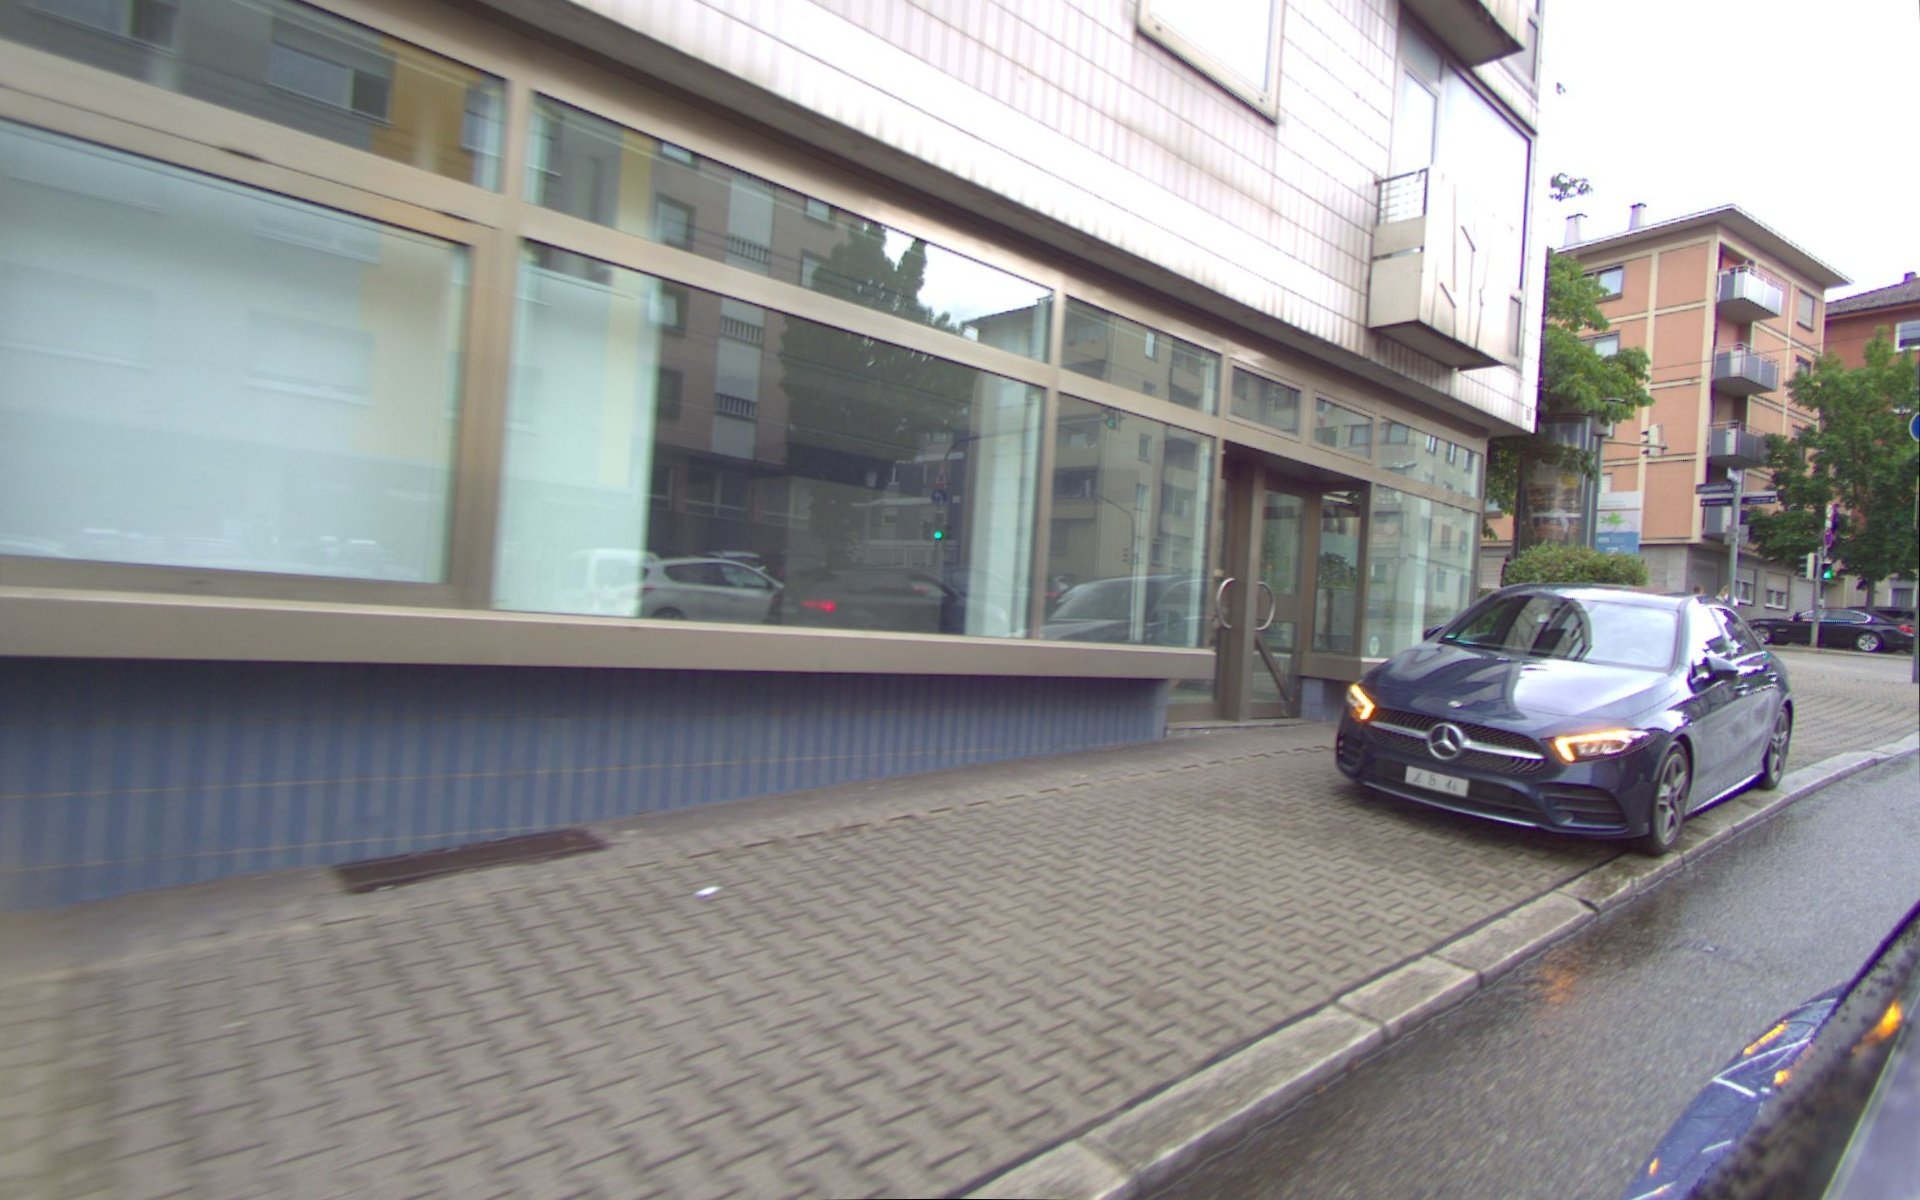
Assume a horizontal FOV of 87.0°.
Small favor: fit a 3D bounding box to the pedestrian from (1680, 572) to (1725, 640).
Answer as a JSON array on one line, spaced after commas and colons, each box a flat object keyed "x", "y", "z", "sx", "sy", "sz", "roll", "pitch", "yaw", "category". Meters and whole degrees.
[{"x": 19.459, "y": 0.154, "z": 26.521, "sx": 0.756, "sy": 1.667, "sz": 0.699, "roll": 7, "pitch": 1, "yaw": 41, "category": "pedestrian"}]

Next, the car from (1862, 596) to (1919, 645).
[{"x": 36.157, "y": 0.806, "z": 37.210, "sx": 1.951, "sy": 1.741, "sz": 4.009, "roll": 2, "pitch": 0, "yaw": -21, "category": "car"}]

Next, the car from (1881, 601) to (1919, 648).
[{"x": 38.125, "y": 1.009, "z": 38.614, "sx": 1.762, "sy": 1.719, "sz": 4.008, "roll": 5, "pitch": -1, "yaw": -23, "category": "car"}]

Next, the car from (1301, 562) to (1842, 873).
[{"x": 4.348, "y": 0.527, "z": 6.913, "sx": 4.300, "sy": 1.408, "sz": 1.769, "roll": -1, "pitch": 5, "yaw": -40, "category": "car"}]

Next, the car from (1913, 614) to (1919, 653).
[{"x": 40.444, "y": 1.402, "z": 39.830, "sx": 1.639, "sy": 1.602, "sz": 4.007, "roll": 5, "pitch": -2, "yaw": -14, "category": "car"}]

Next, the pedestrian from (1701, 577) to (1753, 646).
[{"x": 19.685, "y": 0.286, "z": 25.980, "sx": 0.751, "sy": 1.667, "sz": 0.704, "roll": 7, "pitch": 1, "yaw": 22, "category": "pedestrian"}]

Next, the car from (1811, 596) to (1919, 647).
[{"x": 33.477, "y": 0.805, "z": 36.368, "sx": 1.954, "sy": 1.681, "sz": 4.002, "roll": 3, "pitch": 0, "yaw": -33, "category": "car"}]

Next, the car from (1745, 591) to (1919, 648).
[{"x": 30.722, "y": 0.652, "z": 35.361, "sx": 1.813, "sy": 1.573, "sz": 4.803, "roll": 3, "pitch": 2, "yaw": -30, "category": "car"}]

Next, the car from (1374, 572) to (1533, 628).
[{"x": 15.028, "y": -0.034, "z": 31.028, "sx": 1.813, "sy": 1.531, "sz": 4.004, "roll": 2, "pitch": 1, "yaw": -31, "category": "car"}]
